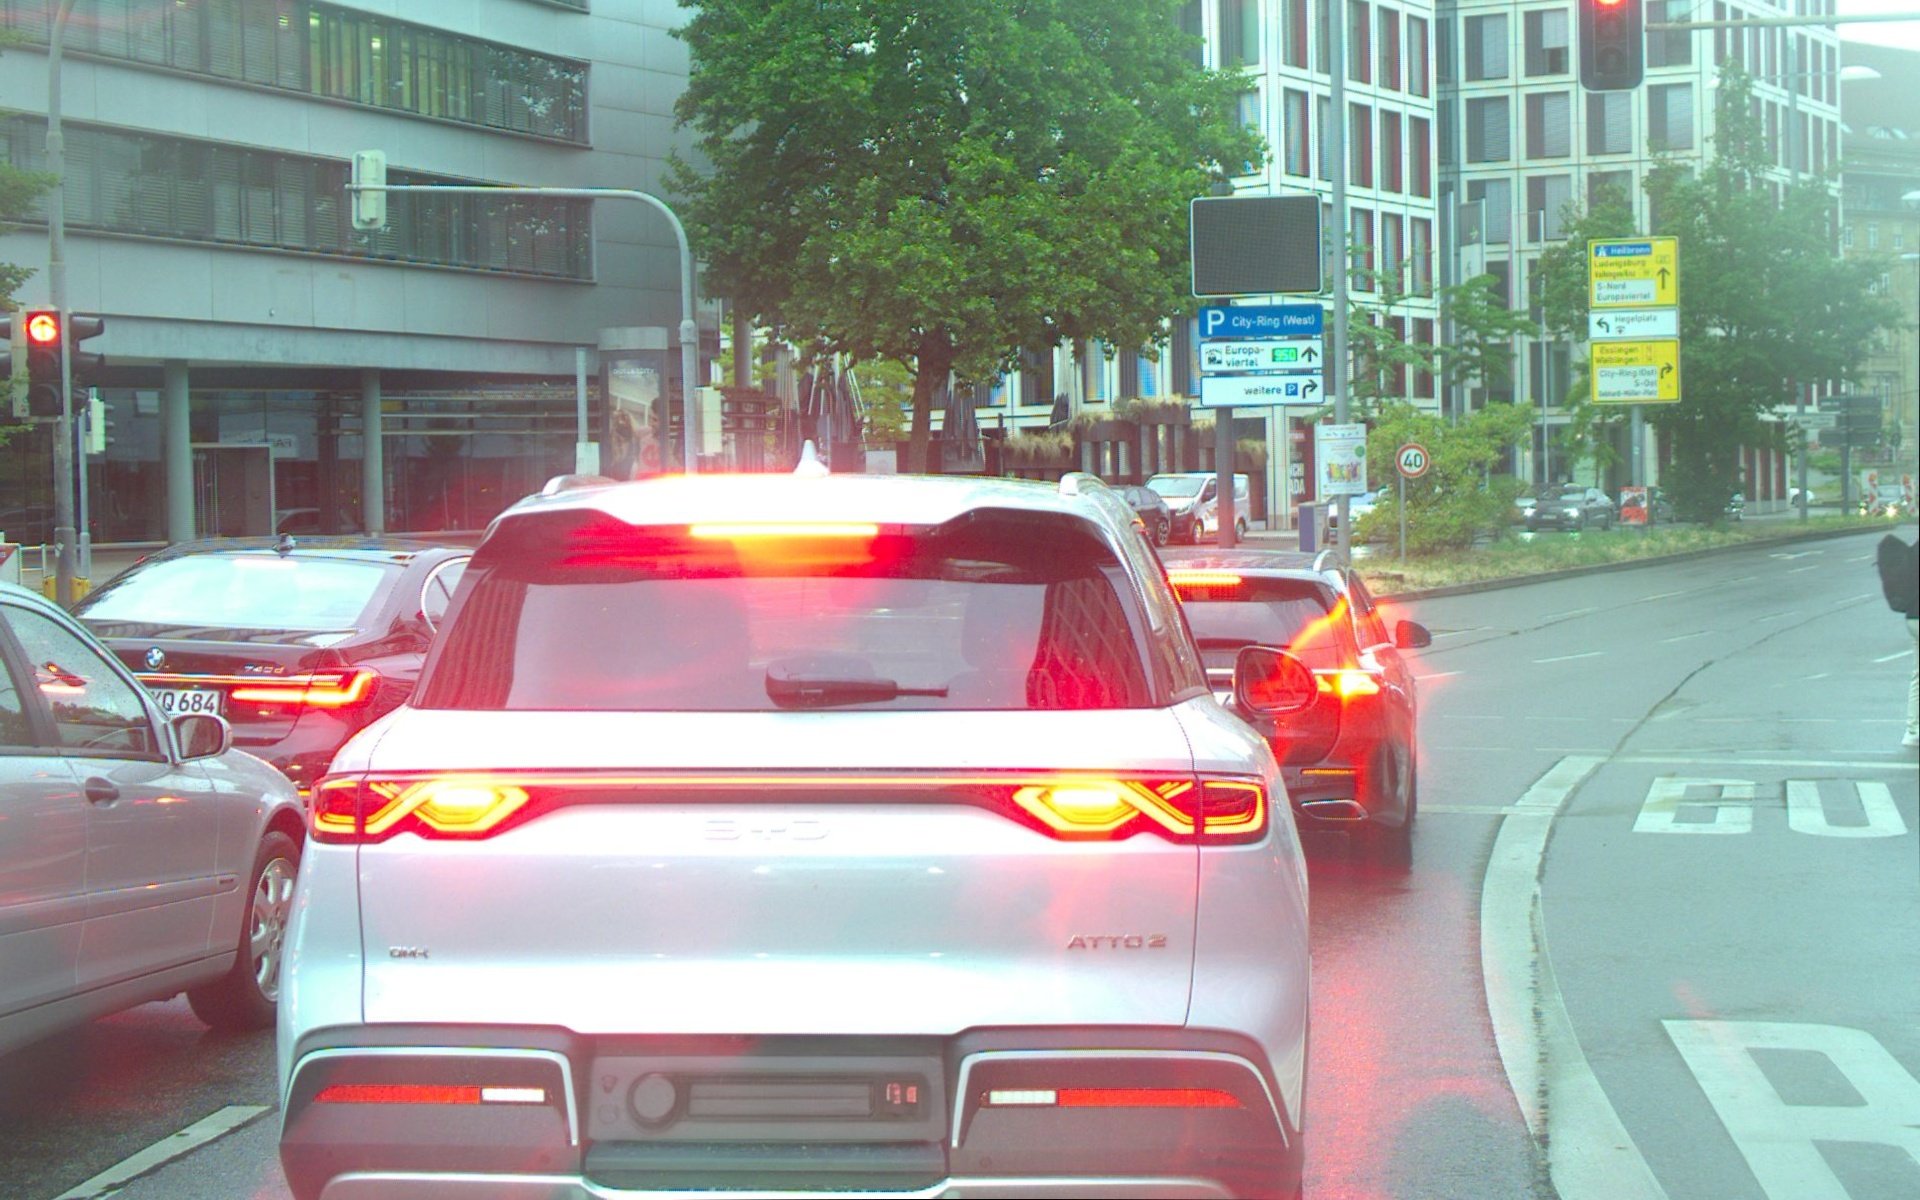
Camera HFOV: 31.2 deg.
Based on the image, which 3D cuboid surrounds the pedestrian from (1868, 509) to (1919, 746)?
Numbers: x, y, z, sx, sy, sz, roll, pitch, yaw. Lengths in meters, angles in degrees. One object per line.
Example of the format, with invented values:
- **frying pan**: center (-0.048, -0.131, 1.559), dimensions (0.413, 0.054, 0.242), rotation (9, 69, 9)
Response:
- **pedestrian**: center (7.080, 0.195, 25.241), dimensions (0.770, 1.725, 0.596), rotation (0, 1, 14)

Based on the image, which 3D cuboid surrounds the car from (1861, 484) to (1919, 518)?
- **car**: center (42.596, -4.525, 157.051), dimensions (1.996, 1.483, 3.994), rotation (0, 2, 27)

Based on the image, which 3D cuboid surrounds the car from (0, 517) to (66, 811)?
- **car**: center (-5.876, 0.323, 16.273), dimensions (1.707, 1.481, 3.998), rotation (1, 1, 9)

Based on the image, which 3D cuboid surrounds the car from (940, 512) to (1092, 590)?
- **car**: center (1.070, -0.889, 63.568), dimensions (1.692, 1.380, 3.865), rotation (1, 1, 19)

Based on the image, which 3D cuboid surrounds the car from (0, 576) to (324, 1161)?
- **car**: center (-3.047, 0.646, 8.862), dimensions (1.571, 1.402, 4.108), rotation (1, 1, 7)

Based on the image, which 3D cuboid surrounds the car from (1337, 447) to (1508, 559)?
- **car**: center (8.809, -1.806, 65.132), dimensions (1.996, 2.007, 4.843), rotation (1, 1, 23)

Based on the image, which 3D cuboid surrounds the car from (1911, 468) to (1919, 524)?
- **car**: center (29.435, -3.070, 101.934), dimensions (1.890, 1.637, 3.996), rotation (1, 1, 22)

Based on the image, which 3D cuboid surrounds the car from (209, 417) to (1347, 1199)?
- **car**: center (-0.241, 0.540, 7.394), dimensions (1.776, 1.673, 4.000), rotation (1, 1, 2)

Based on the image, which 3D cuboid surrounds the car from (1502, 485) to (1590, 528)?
- **car**: center (20.910, -3.345, 122.538), dimensions (1.996, 1.483, 3.994), rotation (0, 2, 27)

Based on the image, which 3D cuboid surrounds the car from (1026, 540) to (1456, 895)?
- **car**: center (1.474, 0.477, 16.635), dimensions (1.694, 1.481, 3.998), rotation (1, 1, 10)

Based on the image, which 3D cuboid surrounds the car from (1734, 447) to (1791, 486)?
- **car**: center (38.198, -6.336, 163.517), dimensions (1.609, 1.735, 3.439), rotation (1, 1, 32)

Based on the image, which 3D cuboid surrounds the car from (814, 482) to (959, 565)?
- **car**: center (-1.374, -1.475, 66.279), dimensions (1.645, 1.530, 4.149), rotation (1, 1, 16)

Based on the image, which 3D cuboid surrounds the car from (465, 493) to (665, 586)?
- **car**: center (-7.052, -1.103, 61.814), dimensions (1.995, 1.605, 3.996), rotation (1, 1, 20)

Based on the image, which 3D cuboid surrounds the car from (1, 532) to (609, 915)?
- **car**: center (-2.793, 0.465, 15.533), dimensions (1.571, 1.481, 3.999), rotation (1, 1, 7)

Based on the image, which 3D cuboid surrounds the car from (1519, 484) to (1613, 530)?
- **car**: center (20.339, -3.128, 115.322), dimensions (1.996, 1.483, 3.994), rotation (0, 2, 27)
